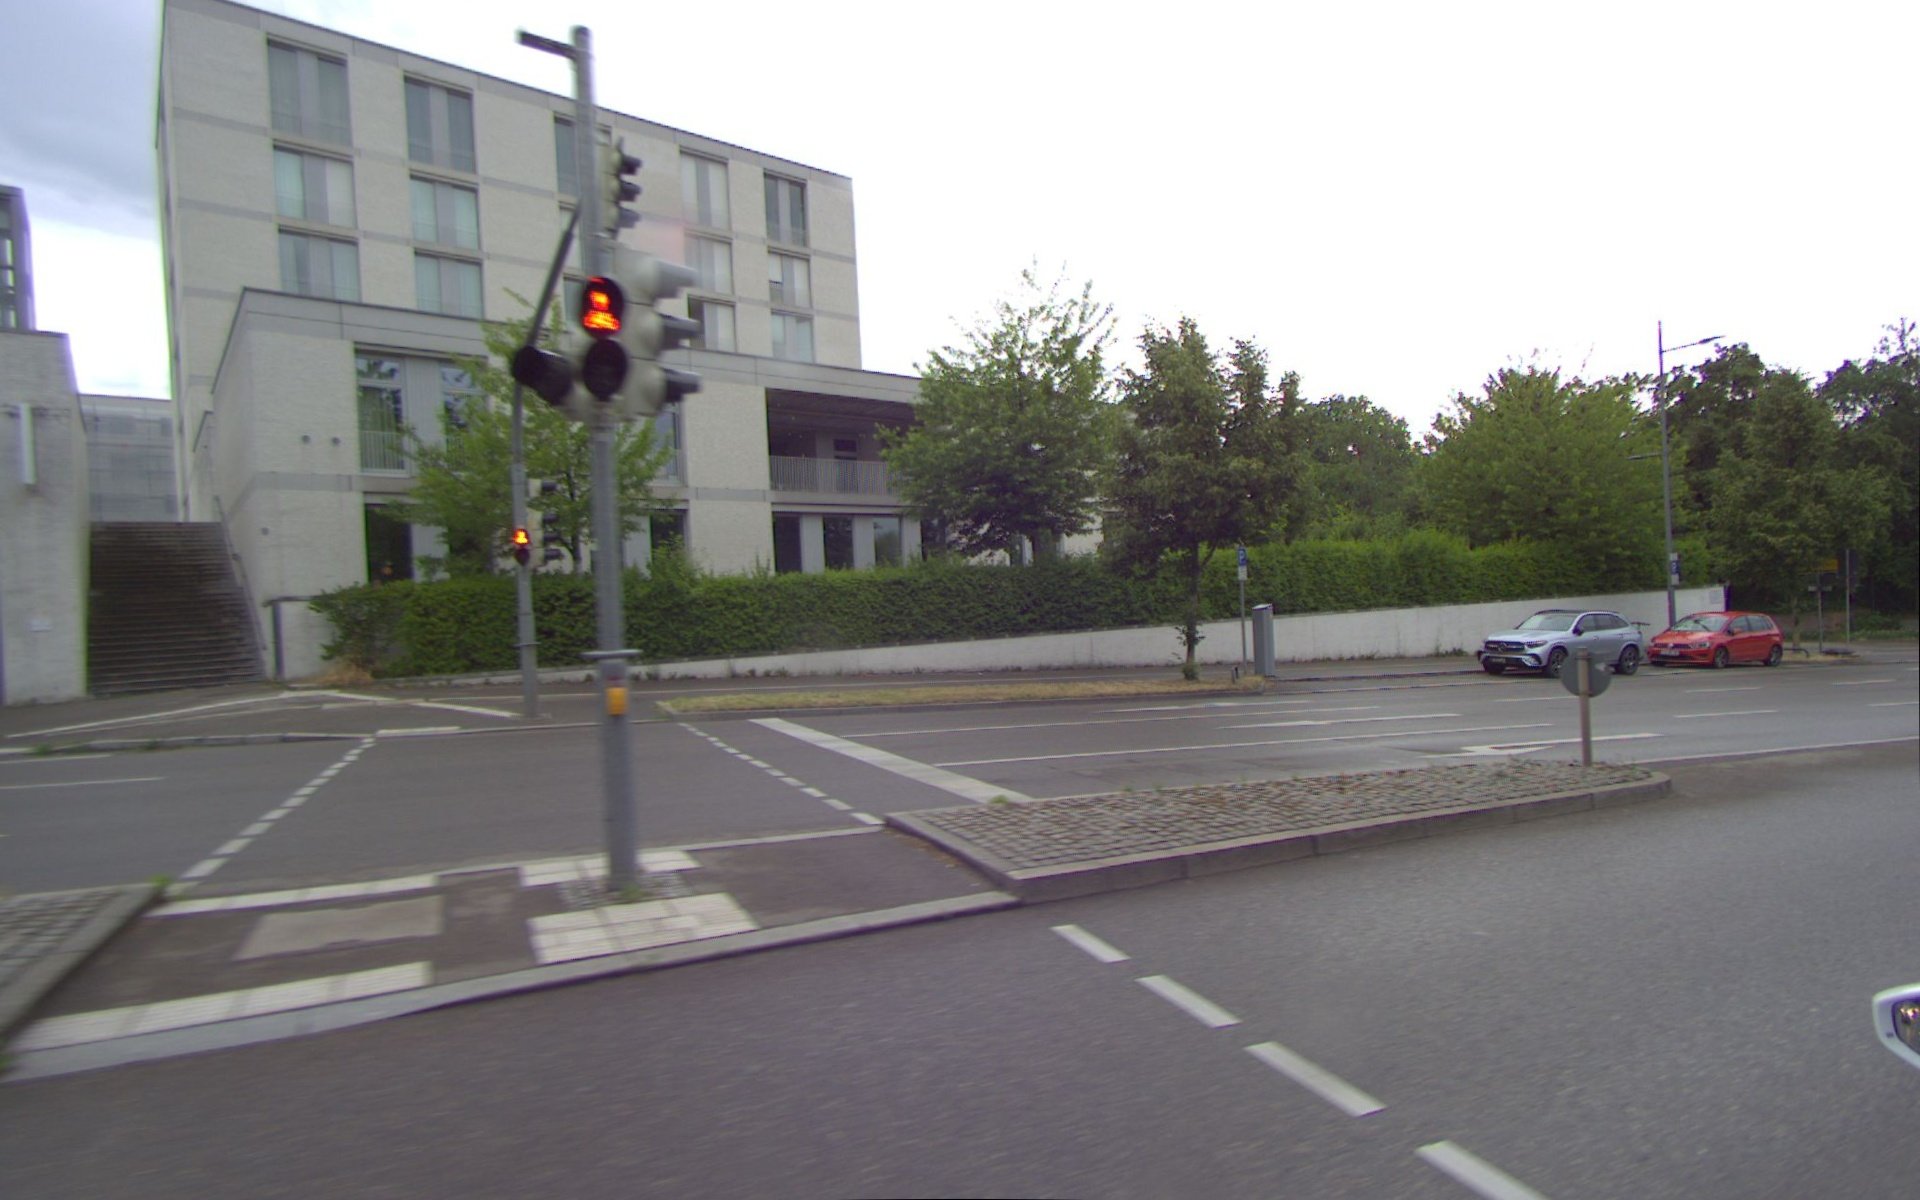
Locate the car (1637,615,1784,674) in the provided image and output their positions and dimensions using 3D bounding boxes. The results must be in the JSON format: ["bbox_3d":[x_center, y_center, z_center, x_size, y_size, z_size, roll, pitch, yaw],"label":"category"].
[{"bbox_3d":[21.694,1.253,29.028,4.160,1.608,1.660,0,-1,-25],"label":"car"}]

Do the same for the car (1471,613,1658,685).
[{"bbox_3d":[15.656,1.209,25.969,4.817,1.675,1.758,0,0,-25],"label":"car"}]
